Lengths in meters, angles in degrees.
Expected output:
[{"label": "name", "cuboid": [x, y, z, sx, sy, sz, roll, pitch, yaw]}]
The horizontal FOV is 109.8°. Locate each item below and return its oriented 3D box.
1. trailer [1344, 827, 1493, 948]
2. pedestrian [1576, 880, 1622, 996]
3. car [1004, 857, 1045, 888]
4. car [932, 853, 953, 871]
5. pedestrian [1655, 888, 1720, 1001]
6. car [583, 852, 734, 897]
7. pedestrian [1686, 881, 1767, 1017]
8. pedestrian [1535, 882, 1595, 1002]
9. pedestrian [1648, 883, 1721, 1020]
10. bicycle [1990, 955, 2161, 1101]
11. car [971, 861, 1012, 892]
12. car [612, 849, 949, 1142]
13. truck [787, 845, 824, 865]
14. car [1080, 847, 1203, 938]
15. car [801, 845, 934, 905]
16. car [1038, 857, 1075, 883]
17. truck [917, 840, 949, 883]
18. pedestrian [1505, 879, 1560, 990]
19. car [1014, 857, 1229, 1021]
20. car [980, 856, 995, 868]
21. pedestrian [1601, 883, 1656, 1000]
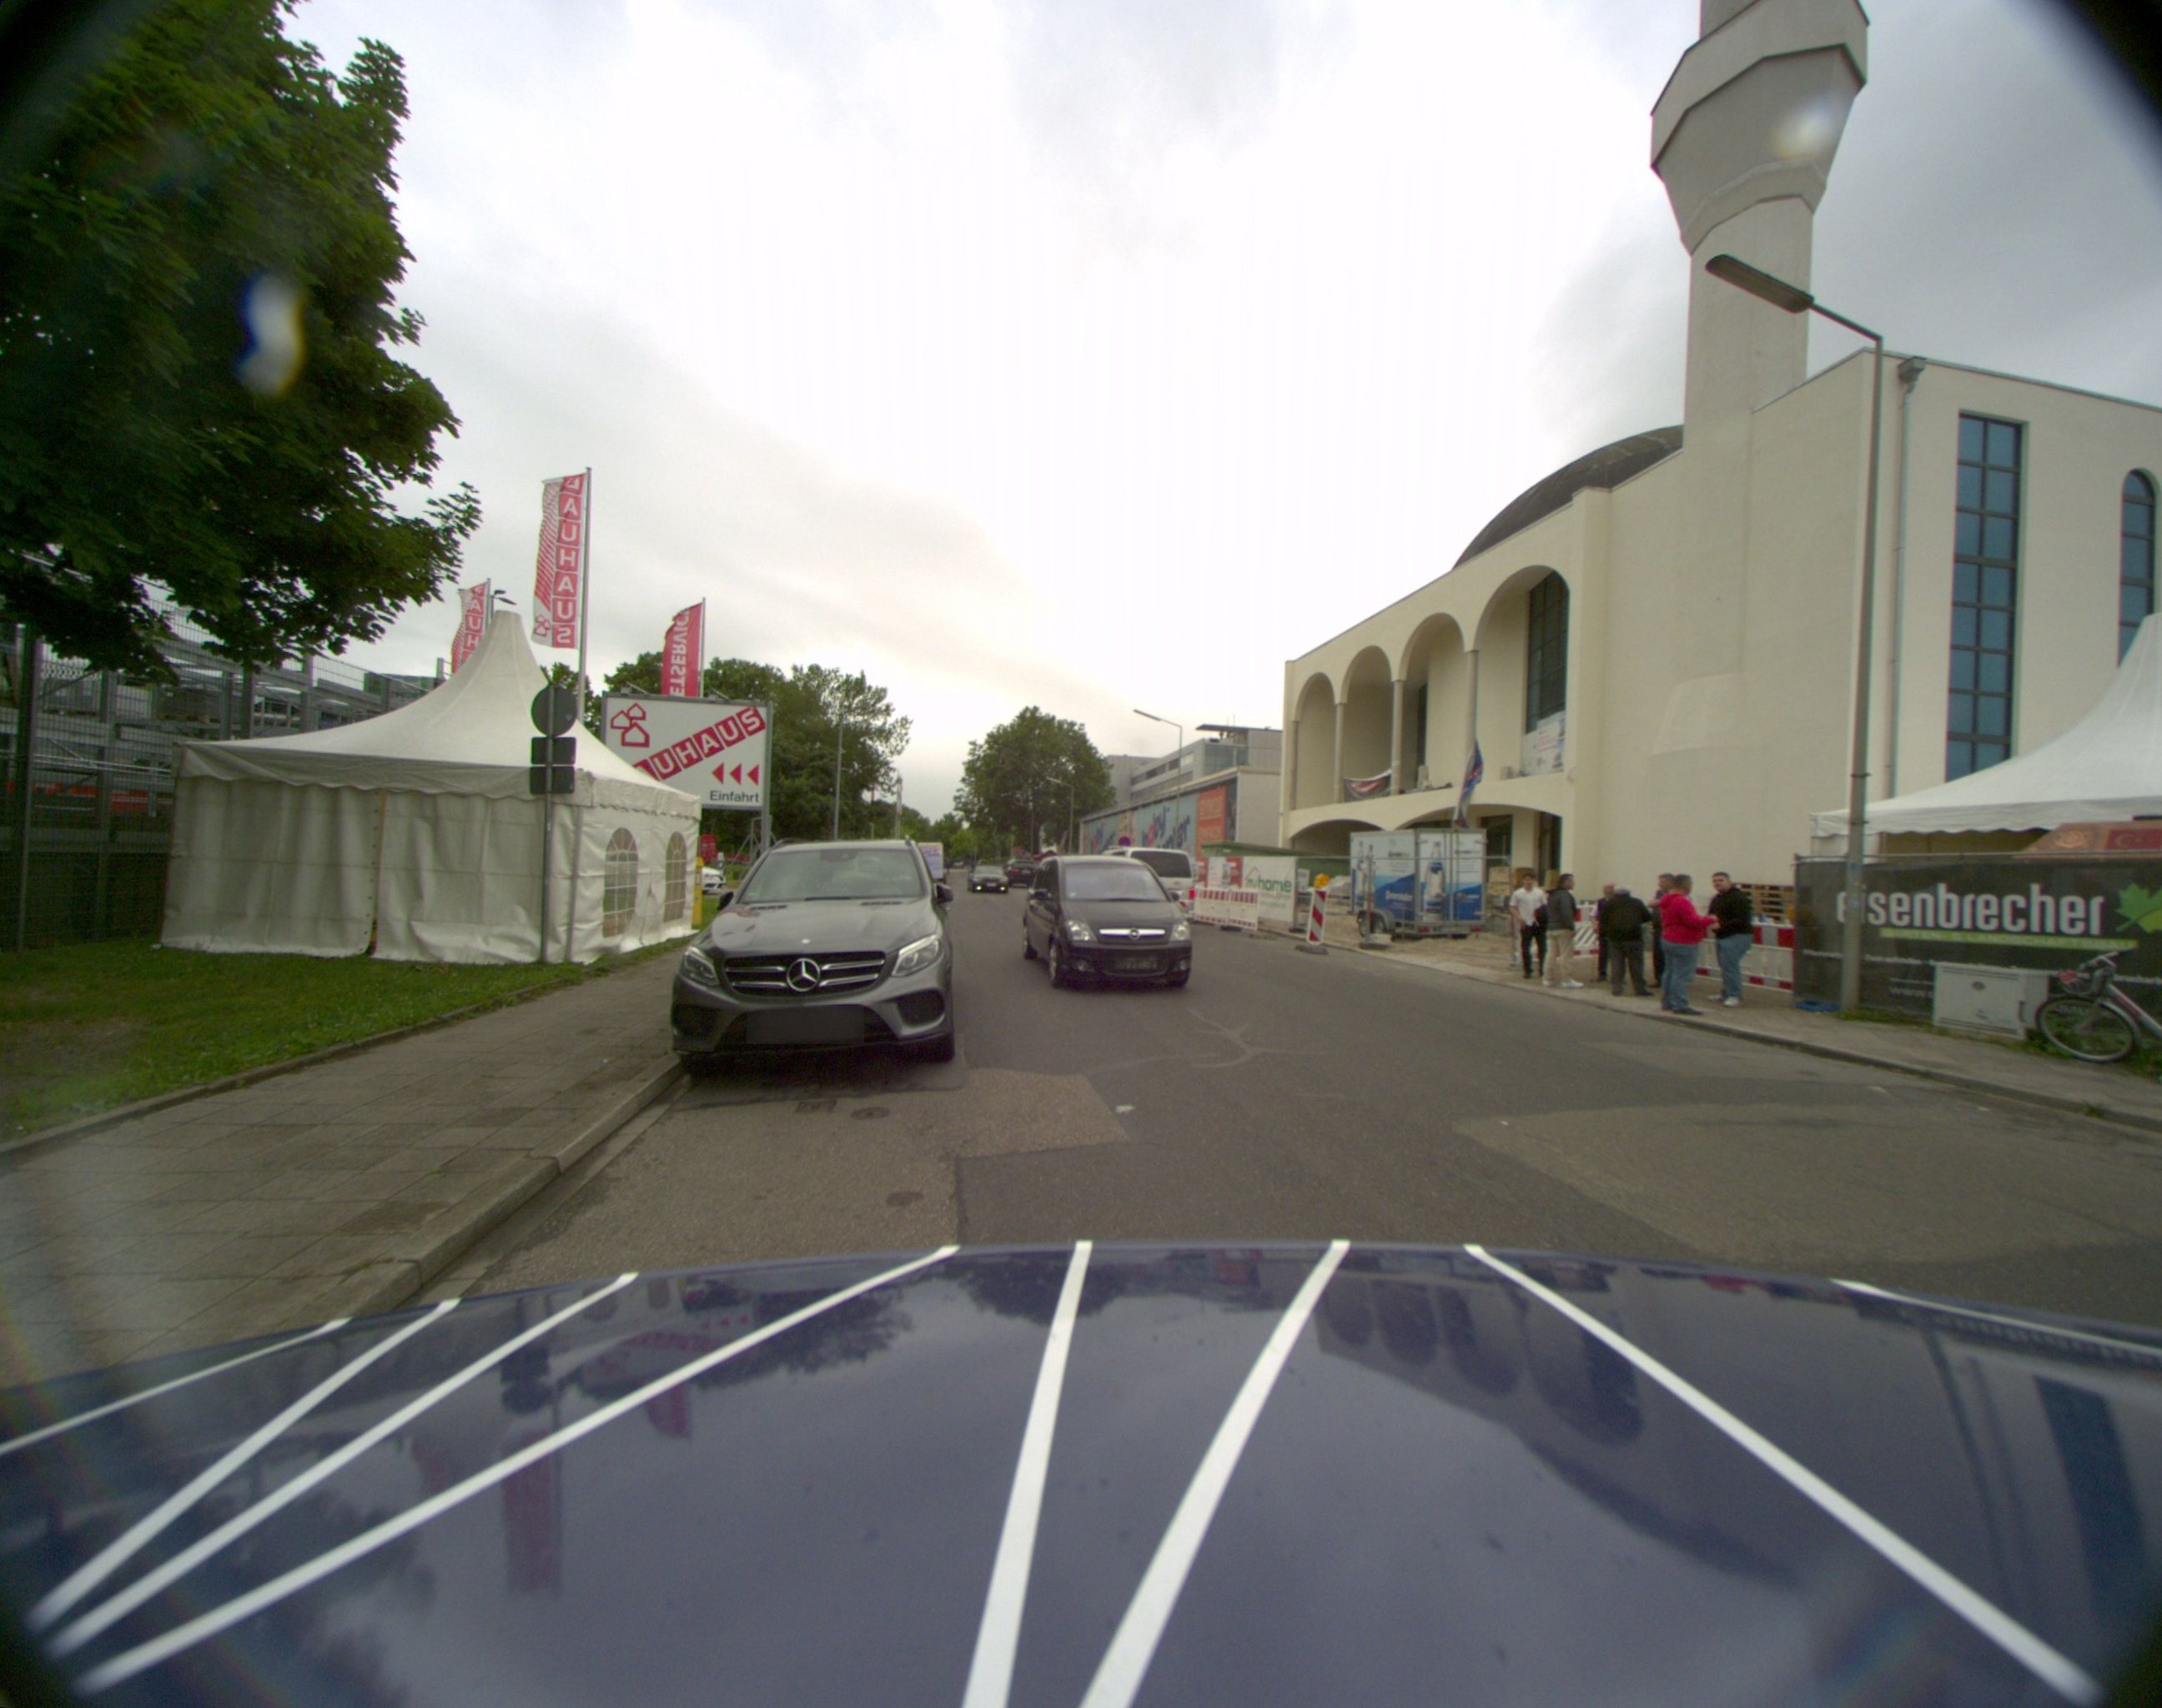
[{"label": "trailer", "cuboid": [7.953, 0.755, 18.225, 1.804, 2.591, 3.189, 2, 0, -7]}, {"label": "pedestrian", "cuboid": [8.105, 1.284, 11.882, 0.527, 1.739, 0.492, 2, 0, 35]}, {"label": "car", "cuboid": [-3.509, 1.084, 46.698, 1.966, 1.652, 4.649, 4, -1, -10]}, {"label": "car", "cuboid": [-14.414, 0.853, 79.050, 2.000, 1.739, 3.996, 2, 0, -9]}, {"label": "pedestrian", "cuboid": [8.947, 1.317, 11.219, 0.541, 1.602, 0.490, 0, 1, -13]}, {"label": "car", "cuboid": [-14.341, 0.685, 26.001, 4.116, 1.412, 1.729, 1, 0, -9]}, {"label": "pedestrian", "cuboid": [8.558, 1.221, 10.110, 0.694, 1.707, 0.689, -2, -2, 34]}, {"label": "pedestrian", "cuboid": [7.366, 1.304, 11.559, 0.689, 1.739, 0.492, 2, 0, 35]}, {"label": "pedestrian", "cuboid": [7.468, 1.177, 9.404, 0.492, 1.602, 0.539, 3, 0, -38]}, {"label": "bicycle", "cuboid": [9.397, 1.559, 6.621, 0.545, 1.071, 1.900, 2, 1, -4]}, {"label": "car", "cuboid": [-4.399, 1.064, 36.825, 1.751, 1.351, 4.133, 0, 1, -10]}, {"label": "car", "cuboid": [-2.207, 0.850, 6.922, 1.915, 1.731, 4.476, -1, 0, -9]}, {"label": "truck", "cuboid": [-35.219, 0.144, 97.217, 1.994, 2.382, 4.009, 2, 0, 30]}, {"label": "car", "cuboid": [1.371, 0.852, 19.515, 1.933, 2.002, 4.950, 2, 0, -9]}, {"label": "car", "cuboid": [-7.581, 0.766, 27.370, 4.385, 1.796, 1.799, 4, -1, -11]}, {"label": "car", "cuboid": [-1.758, 1.095, 52.888, 1.931, 1.564, 4.146, 5, -1, -9]}, {"label": "truck", "cuboid": [-9.481, 0.460, 48.861, 1.854, 2.597, 3.996, -1, 0, -10]}, {"label": "pedestrian", "cuboid": [7.417, 1.296, 12.485, 0.689, 1.739, 0.492, 2, 0, 35]}, {"label": "car", "cuboid": [0.286, 0.893, 9.633, 1.687, 1.622, 3.754, 2, 0, -13]}, {"label": "car", "cuboid": [-12.917, 1.104, 104.851, 1.931, 1.564, 3.997, 3, 0, -9]}, {"label": "pedestrian", "cuboid": [7.819, 1.223, 10.866, 0.570, 1.602, 0.492, 2, 0, 35]}]
